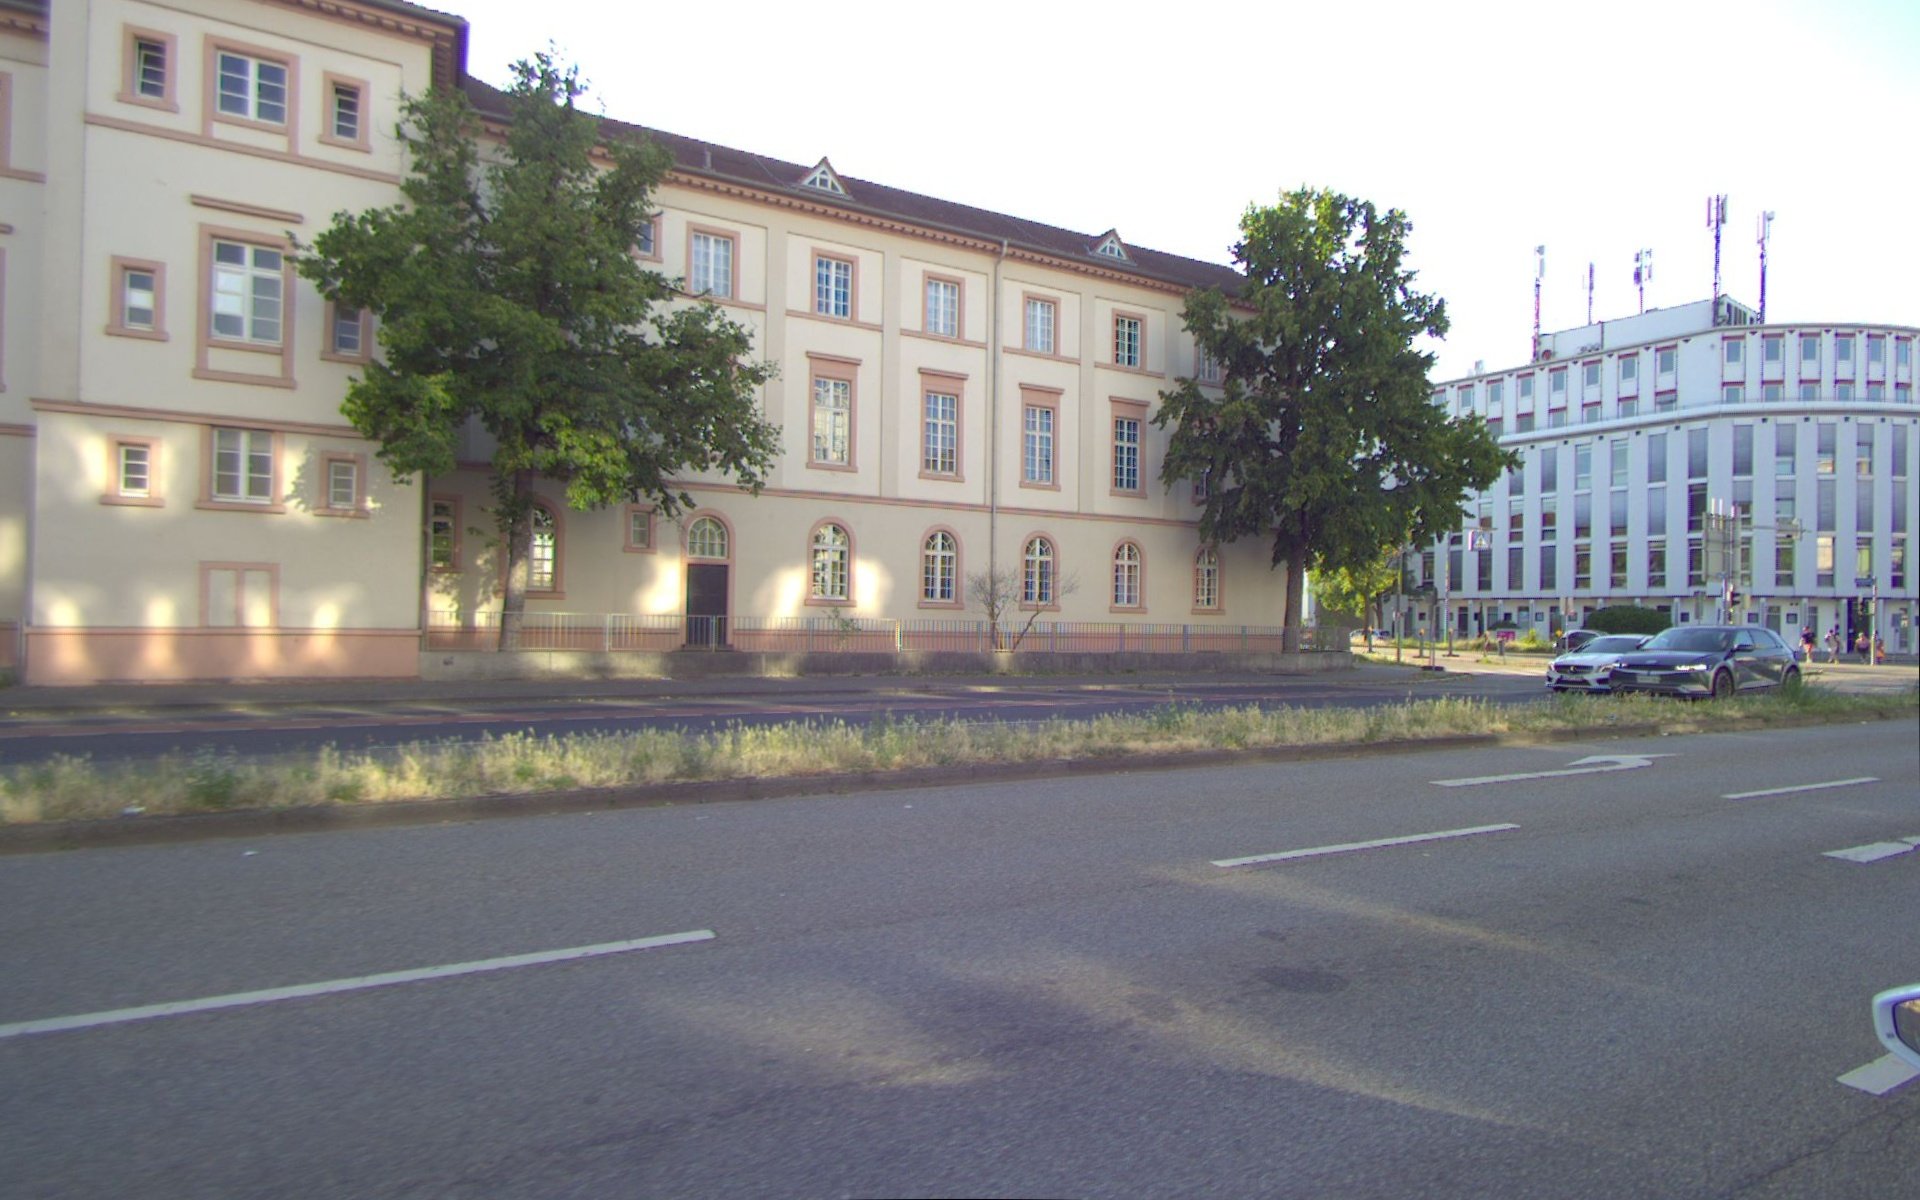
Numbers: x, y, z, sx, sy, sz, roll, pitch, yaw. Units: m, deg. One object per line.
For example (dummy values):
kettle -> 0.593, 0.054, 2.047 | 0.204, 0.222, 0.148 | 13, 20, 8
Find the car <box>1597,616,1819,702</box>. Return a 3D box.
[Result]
car -> 15.606, 1.173, 20.892 | 4.841, 1.599, 1.984 | 2, -1, -30

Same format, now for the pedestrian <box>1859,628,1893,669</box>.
pedestrian -> 43.092, 2.288, 47.269 | 1.106, 1.893, 0.628 | 1, -1, -7

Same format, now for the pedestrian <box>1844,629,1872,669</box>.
pedestrian -> 43.013, 2.330, 48.099 | 0.763, 1.893, 0.662 | 1, -1, -4

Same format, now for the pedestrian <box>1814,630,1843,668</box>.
pedestrian -> 42.540, 2.395, 49.195 | 0.805, 1.866, 0.758 | 1, -1, -16

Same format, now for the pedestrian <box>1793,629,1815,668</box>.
pedestrian -> 41.909, 2.399, 49.863 | 0.770, 1.883, 0.656 | 2, -1, -34

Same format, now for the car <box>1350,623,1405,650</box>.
car -> 31.773, 2.817, 76.531 | 3.796, 1.756, 1.776 | 1, -9, 19

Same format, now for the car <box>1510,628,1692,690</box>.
car -> 16.129, 1.445, 25.246 | 4.388, 1.432, 1.986 | 1, -2, -28

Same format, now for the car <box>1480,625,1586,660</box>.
car -> 28.673, 2.119, 50.393 | 1.973, 1.650, 4.333 | 1, -1, -24

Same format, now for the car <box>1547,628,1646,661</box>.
car -> 31.836, 2.226, 50.310 | 1.843, 1.550, 3.789 | 4, -4, -32
